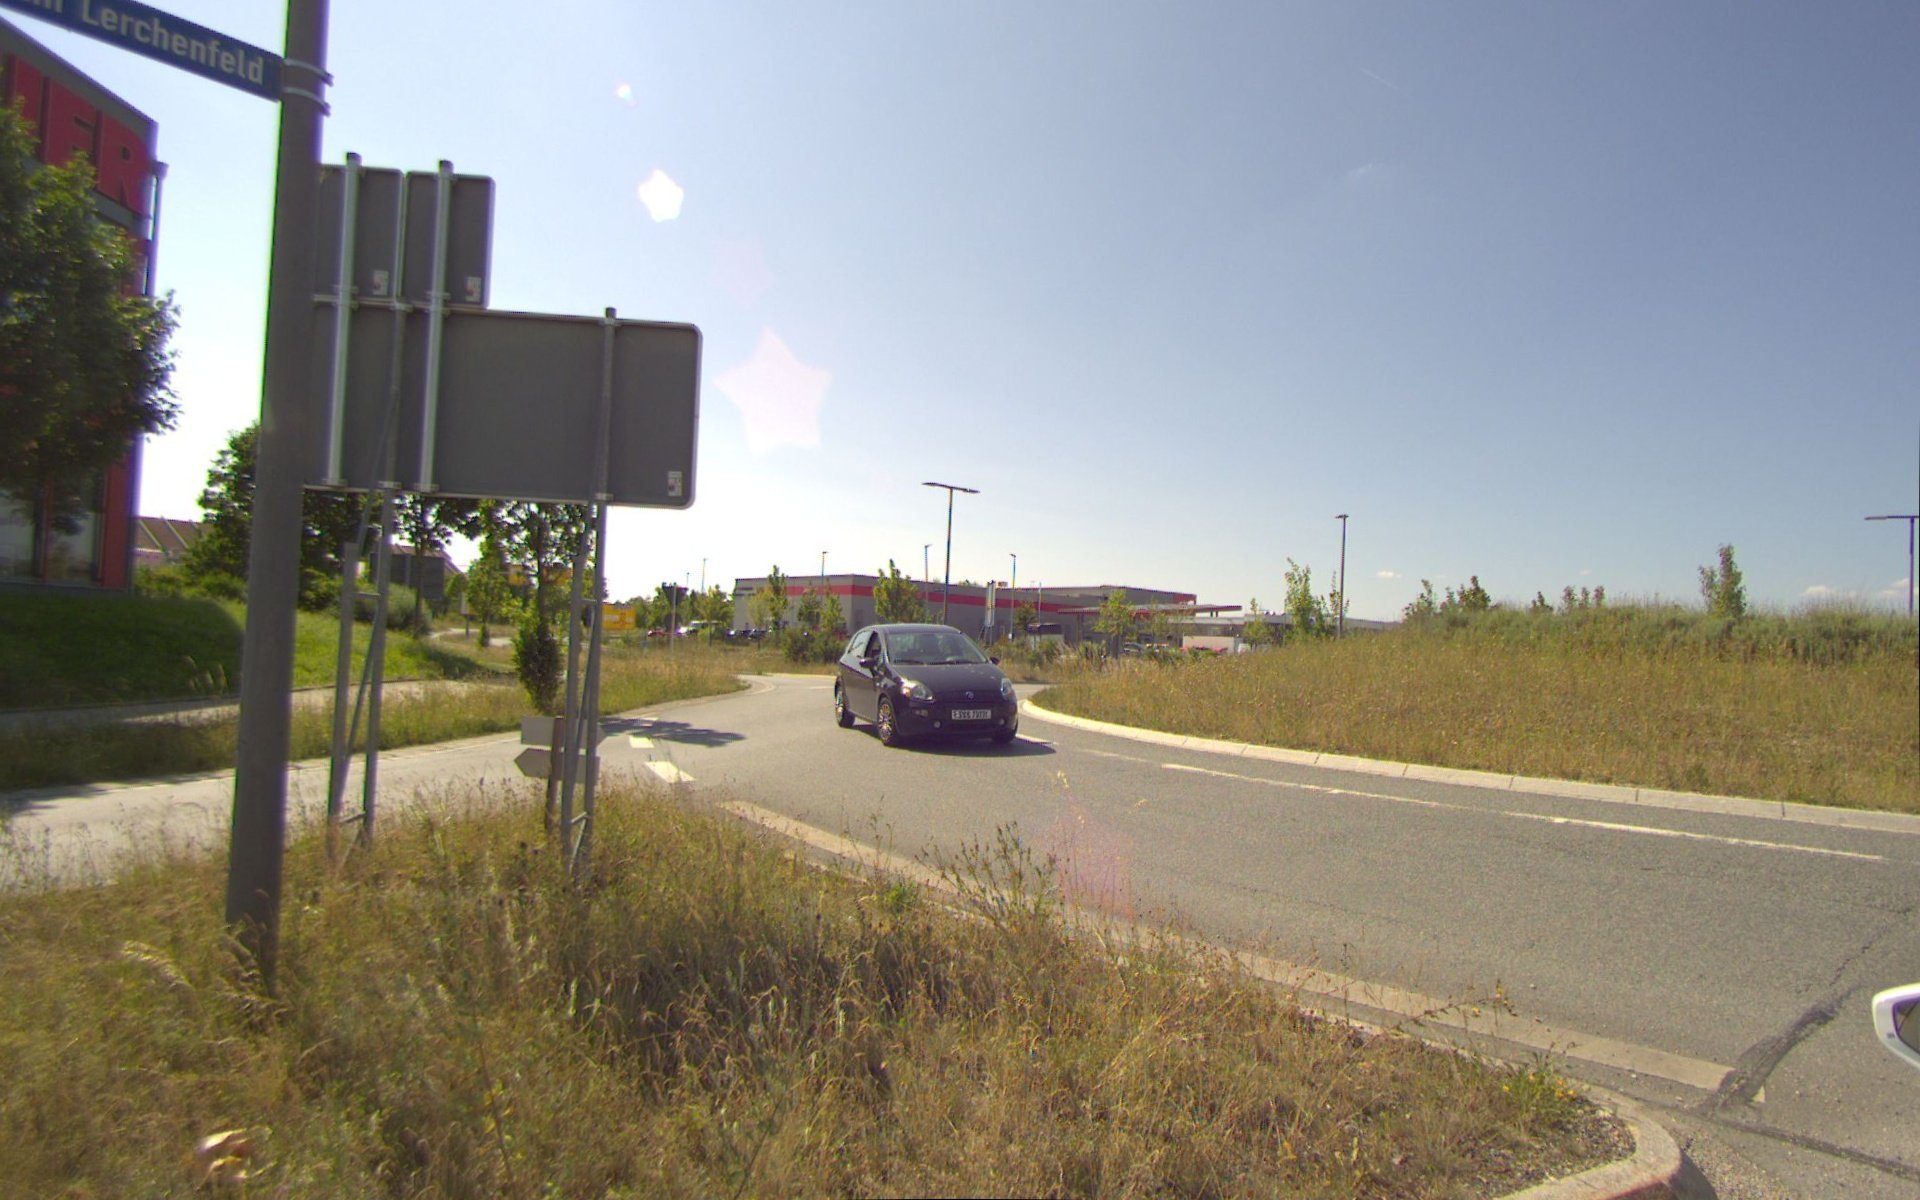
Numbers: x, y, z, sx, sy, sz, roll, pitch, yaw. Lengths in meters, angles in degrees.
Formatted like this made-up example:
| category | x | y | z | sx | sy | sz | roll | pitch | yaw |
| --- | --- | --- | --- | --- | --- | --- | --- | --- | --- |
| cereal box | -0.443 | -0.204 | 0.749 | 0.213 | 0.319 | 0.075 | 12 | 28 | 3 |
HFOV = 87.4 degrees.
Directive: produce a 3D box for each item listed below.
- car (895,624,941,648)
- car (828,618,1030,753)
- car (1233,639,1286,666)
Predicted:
| category | x | y | z | sx | sy | sz | roll | pitch | yaw |
| --- | --- | --- | --- | --- | --- | --- | --- | --- | --- |
| car | -3.915 | 3.356 | 94.043 | 3.974 | 2.040 | 1.974 | 4 | -3 | -44 |
| car | -0.569 | 1.044 | 13.310 | 1.619 | 1.507 | 3.889 | 2 | -2 | -18 |
| car | 25.168 | 4.439 | 84.324 | 5.101 | 2.040 | 1.975 | 5 | -3 | -43 |
